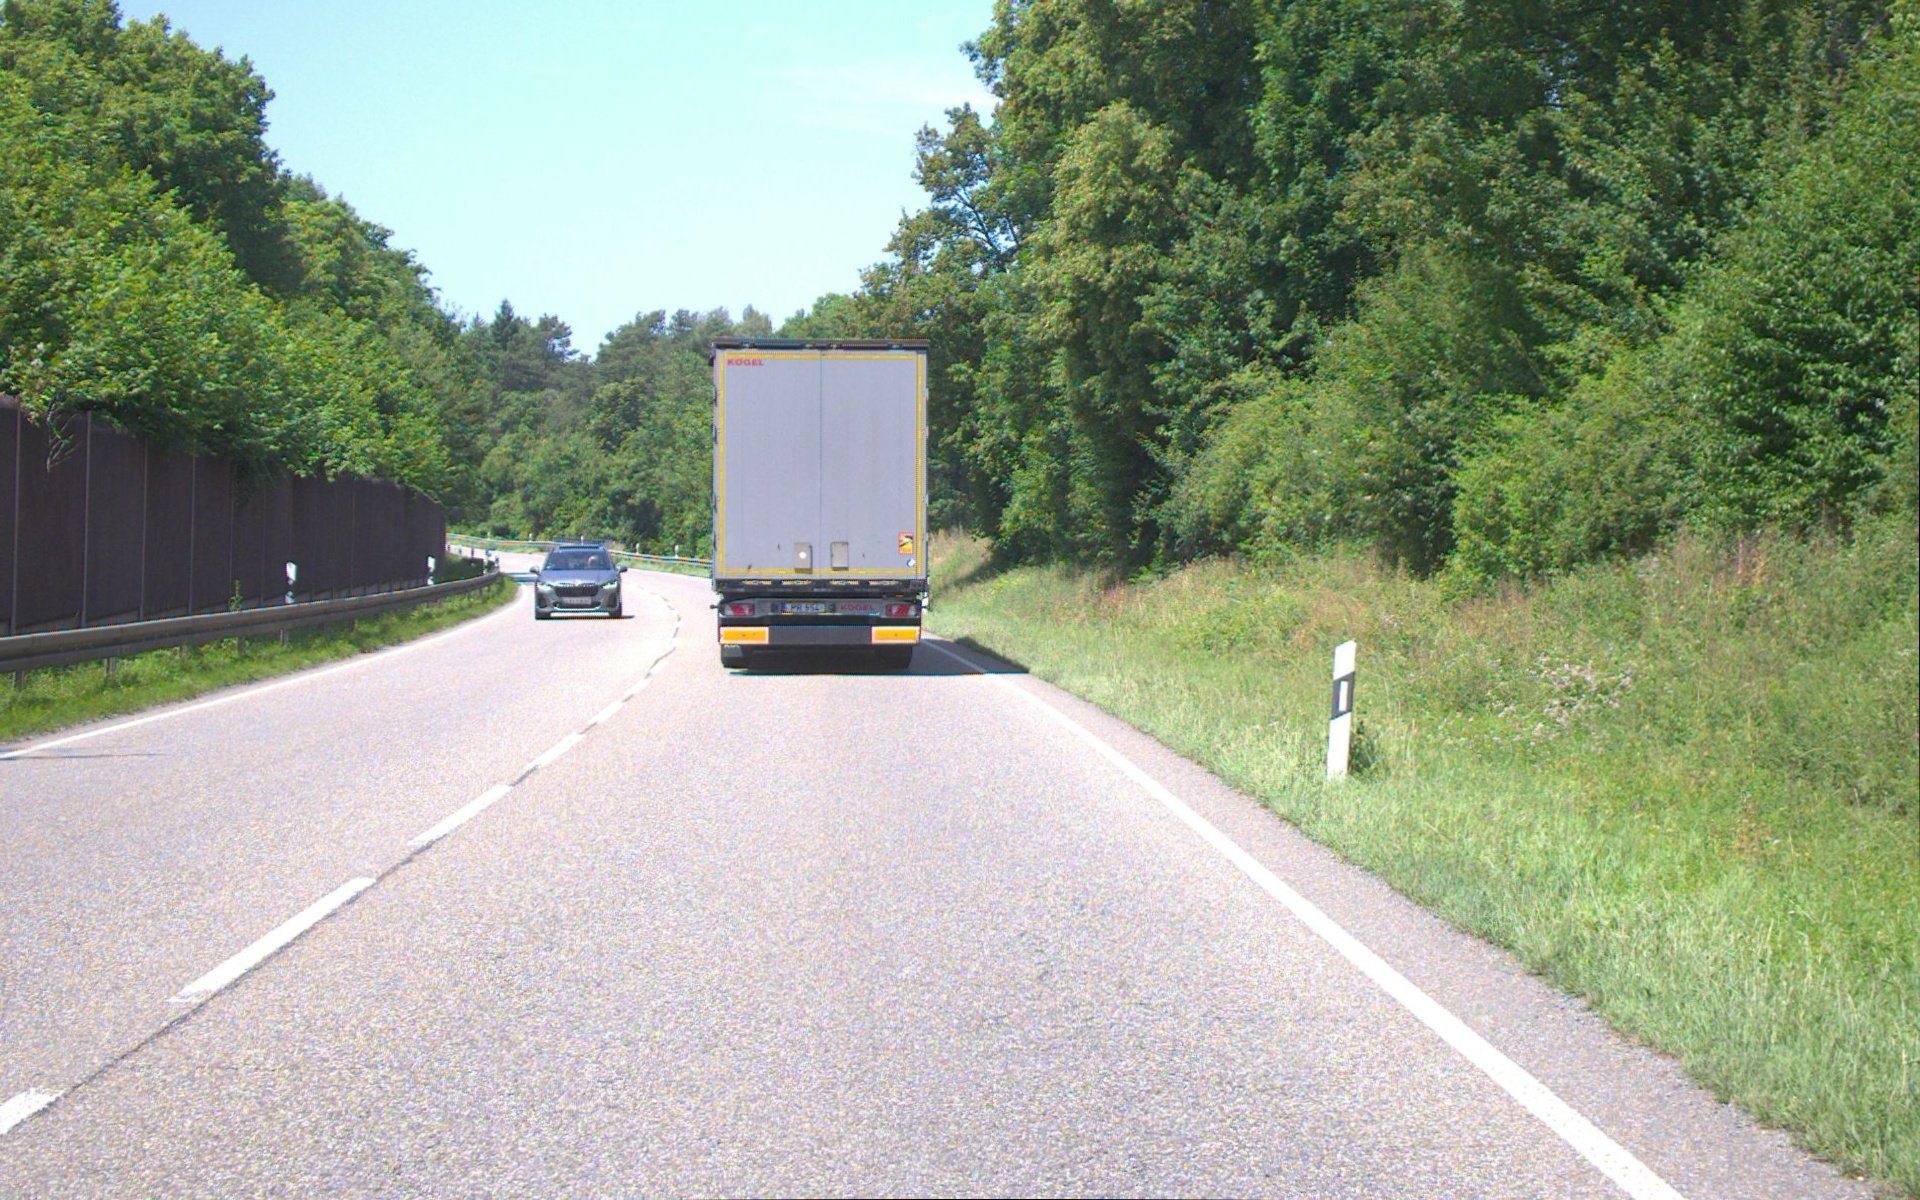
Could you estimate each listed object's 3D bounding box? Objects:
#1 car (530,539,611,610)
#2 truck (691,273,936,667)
[{"bbox_3d":[-8.398,-0.553,73.994,1.616,1.486,3.618,0,1,-8],"label":"car"},{"bbox_3d":[-1.805,-1.530,43.646,2.822,4.588,6.665,1,0,-1],"label":"truck"}]
